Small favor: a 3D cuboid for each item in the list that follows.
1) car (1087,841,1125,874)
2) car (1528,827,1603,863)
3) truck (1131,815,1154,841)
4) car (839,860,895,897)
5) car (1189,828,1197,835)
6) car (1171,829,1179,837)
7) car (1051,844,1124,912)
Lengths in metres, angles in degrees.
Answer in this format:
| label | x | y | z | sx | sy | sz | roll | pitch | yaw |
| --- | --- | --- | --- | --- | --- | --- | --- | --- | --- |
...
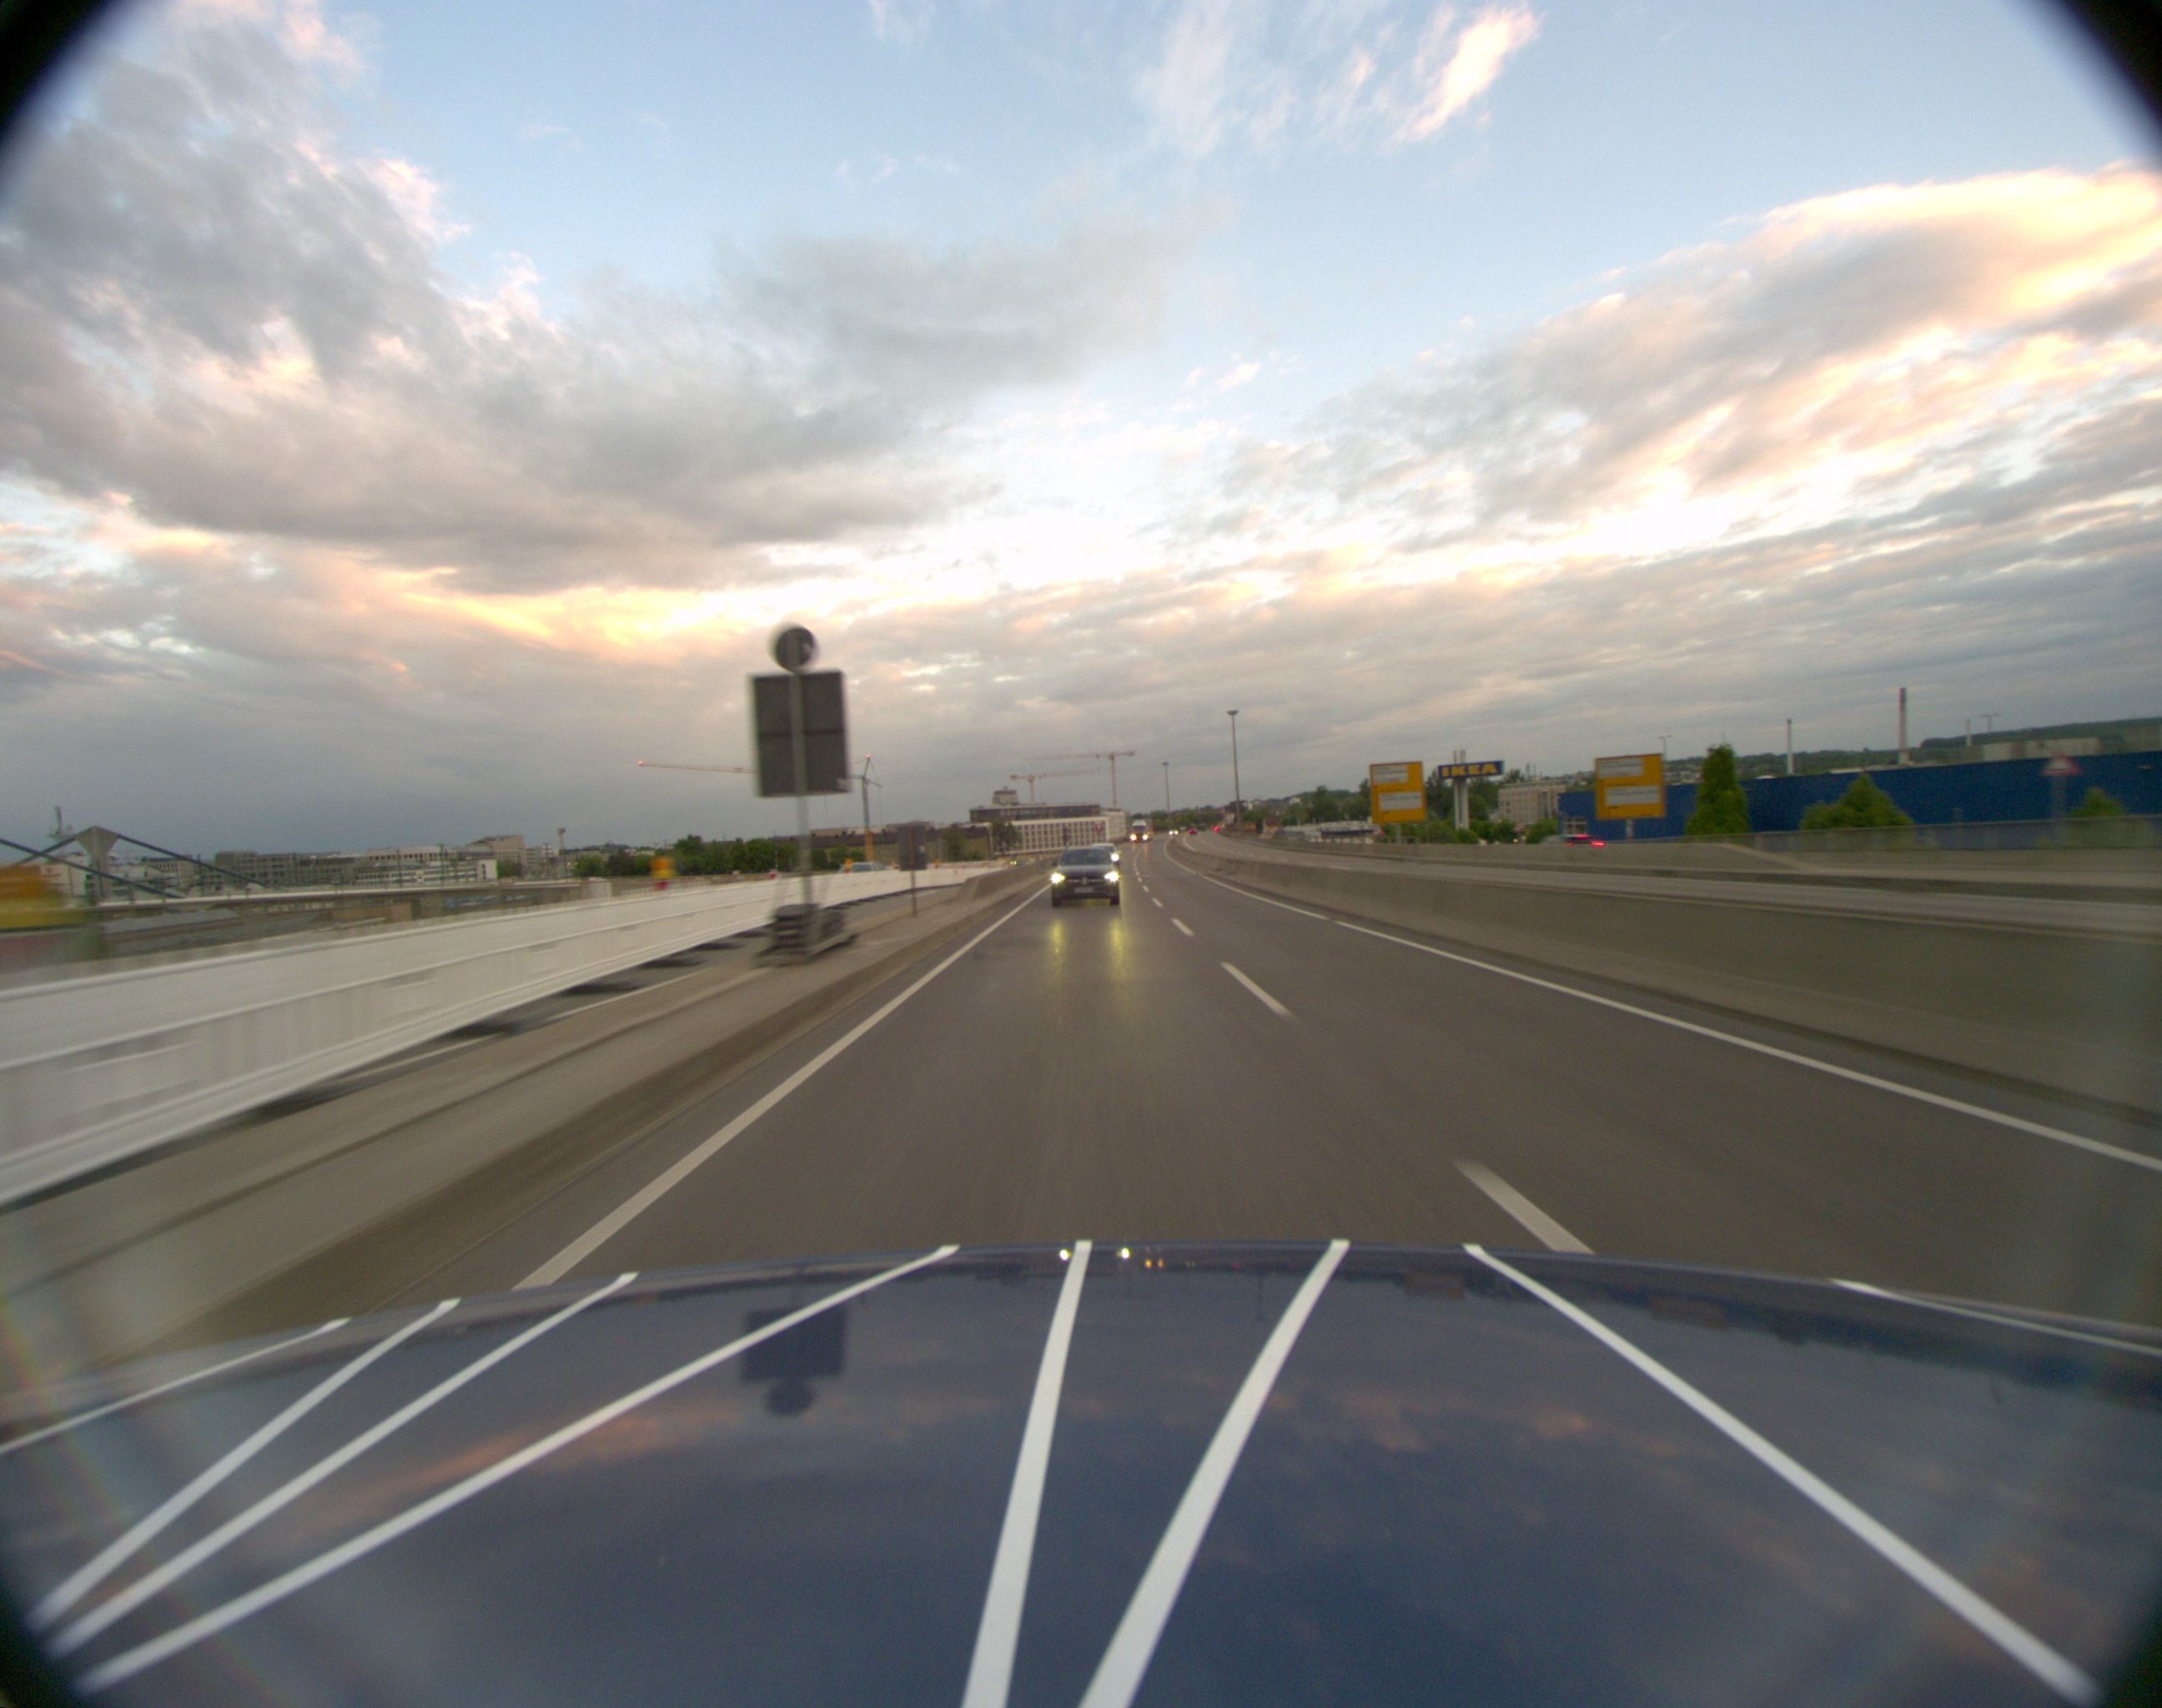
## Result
| label | x | y | z | sx | sy | sz | roll | pitch | yaw |
| --- | --- | --- | --- | --- | --- | --- | --- | --- | --- |
| car | 1.348 | 0.142 | 41.794 | 1.891 | 1.642 | 4.343 | -3 | 1 | 1 |
| car | 24.923 | -0.465 | 39.245 | 1.640 | 1.707 | 4.001 | -2 | 1 | 6 |
| truck | 11.055 | -4.653 | 136.361 | 3.163 | 4.370 | 8.796 | -2 | 2 | 10 |
| car | -10.008 | 1.099 | 35.779 | 1.755 | 1.482 | 3.998 | -3 | 1 | -5 |
| car | 27.099 | -5.373 | 183.352 | 1.833 | 1.472 | 4.288 | -3 | 2 | 8 |
| car | 25.476 | -5.731 | 205.139 | 1.997 | 2.002 | 4.001 | -2 | 2 | 9 |
| car | 0.209 | 0.599 | 21.632 | 1.823 | 1.603 | 4.211 | -2 | 2 | 1 |
